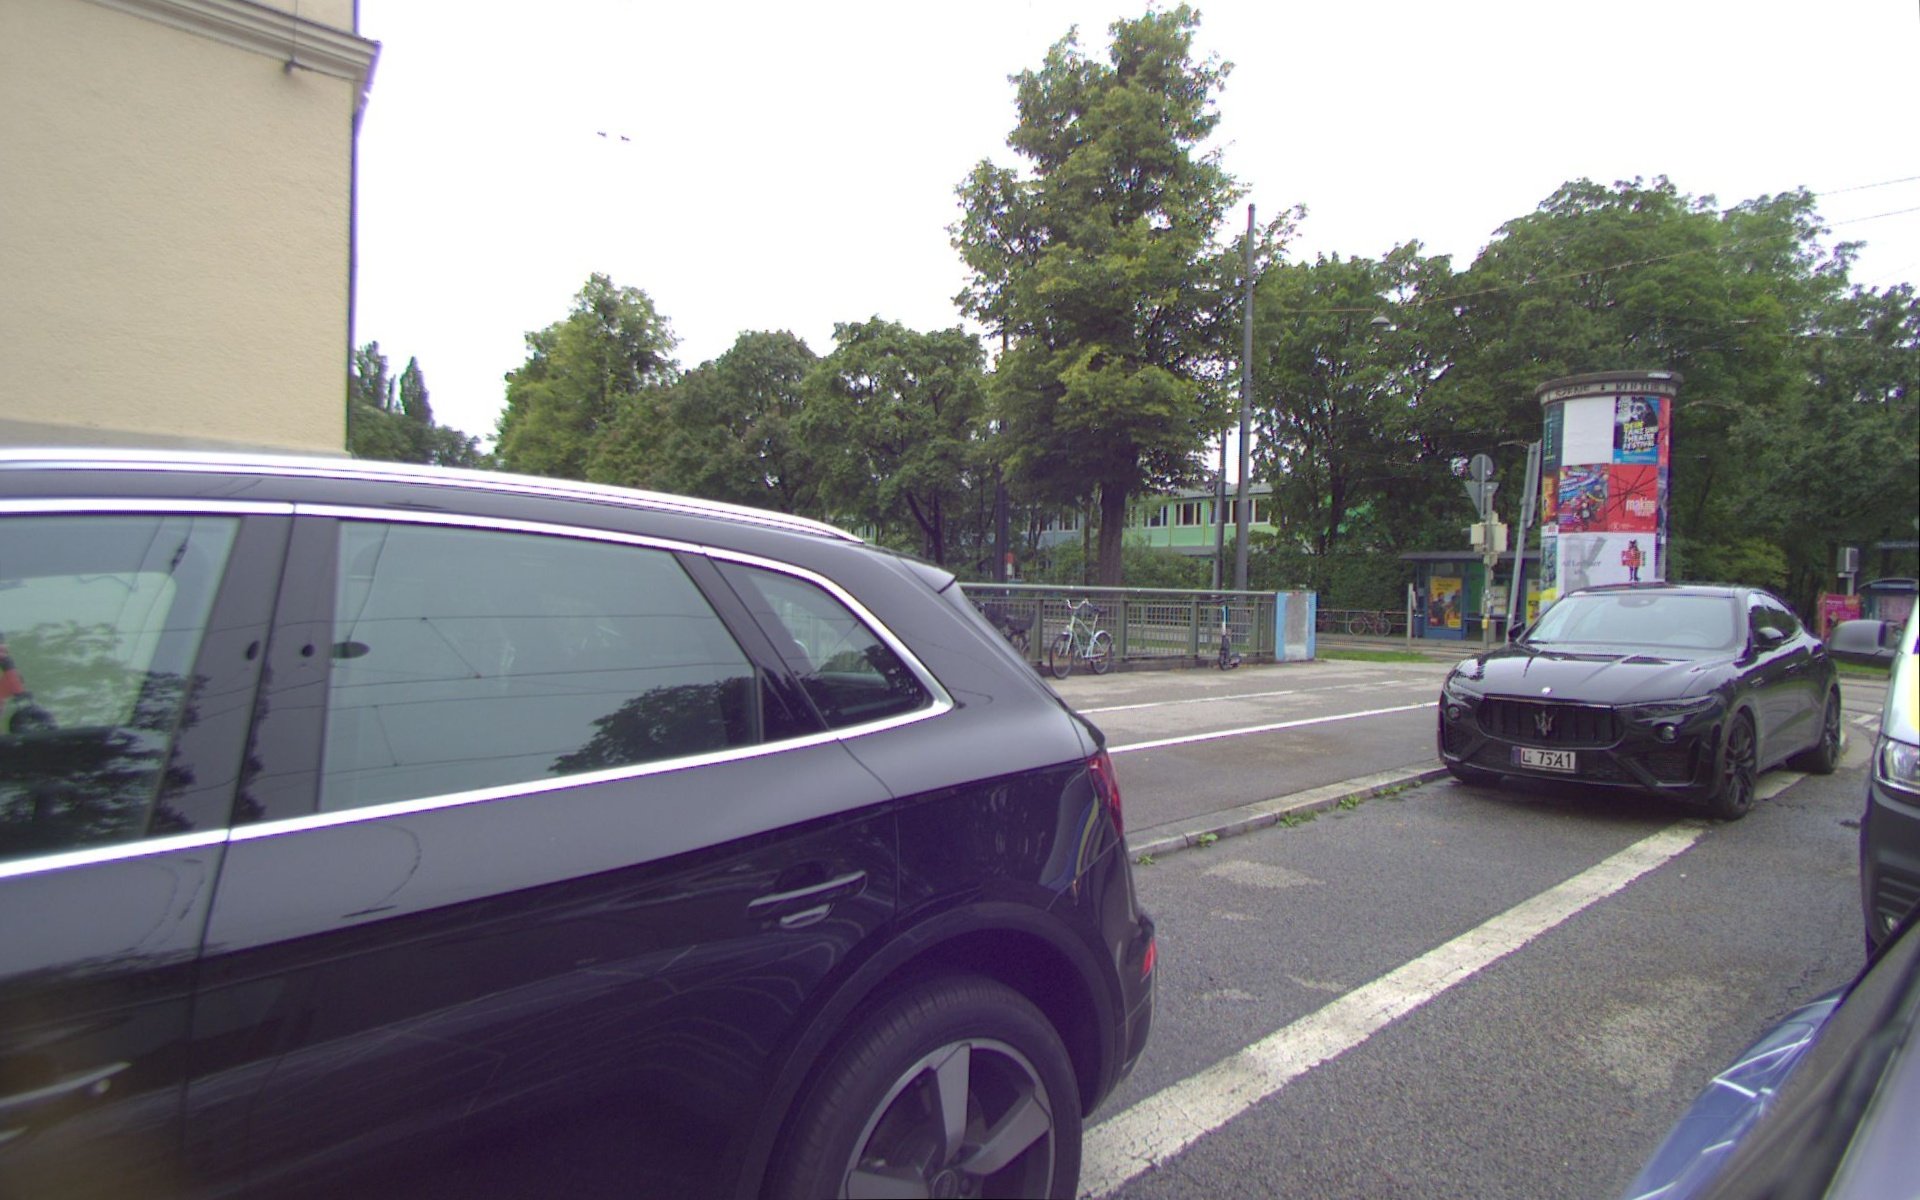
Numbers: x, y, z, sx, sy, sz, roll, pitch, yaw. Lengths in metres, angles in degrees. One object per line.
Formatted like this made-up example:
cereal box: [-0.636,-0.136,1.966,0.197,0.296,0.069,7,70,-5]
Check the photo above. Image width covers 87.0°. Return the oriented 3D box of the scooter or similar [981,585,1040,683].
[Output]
scooter or similar: [0.714,0.447,14.017,0.242,1.279,1.482,-1,0,27]

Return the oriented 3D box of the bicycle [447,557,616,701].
bicycle: [-4.202,0.268,9.997,1.511,1.329,0.332,0,-1,-42]

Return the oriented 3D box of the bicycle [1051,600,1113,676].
bicycle: [1.859,0.543,15.250,0.263,1.096,1.524,-1,-1,34]

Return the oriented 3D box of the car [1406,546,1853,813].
car: [5.725,0.515,8.406,4.582,1.630,1.904,1,-1,-40]

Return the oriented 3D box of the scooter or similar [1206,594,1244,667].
scooter or similar: [4.590,0.518,17.492,0.224,1.227,1.006,-1,-1,40]

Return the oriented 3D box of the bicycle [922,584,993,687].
bicycle: [-0.014,0.448,13.369,0.280,1.298,1.395,-1,-1,29]

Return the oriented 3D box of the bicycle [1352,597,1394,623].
bicycle: [15.523,0.364,38.057,0.366,0.964,1.483,0,1,-38]

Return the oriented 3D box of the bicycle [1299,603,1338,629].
bicycle: [14.095,0.614,39.773,0.366,0.964,1.483,0,1,-38]

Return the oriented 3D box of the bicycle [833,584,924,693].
bicycle: [-1.005,0.454,12.692,0.281,1.298,1.391,-1,-1,38]

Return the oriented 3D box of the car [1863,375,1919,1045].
car: [5.600,0.364,4.423,5.612,2.078,1.901,0,1,-43]

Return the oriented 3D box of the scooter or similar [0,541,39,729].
scooter or similar: [-7.117,0.246,6.968,0.261,1.329,1.125,-1,-1,41]

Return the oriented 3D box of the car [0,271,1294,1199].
car: [-1.432,0.518,1.712,4.408,1.679,1.778,0,0,-40]

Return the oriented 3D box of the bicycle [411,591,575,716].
bicycle: [-4.435,0.476,9.681,0.286,1.120,1.421,1,0,42]

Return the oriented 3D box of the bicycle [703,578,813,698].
bicycle: [-2.285,0.411,11.579,0.281,1.298,1.391,-1,-1,38]
